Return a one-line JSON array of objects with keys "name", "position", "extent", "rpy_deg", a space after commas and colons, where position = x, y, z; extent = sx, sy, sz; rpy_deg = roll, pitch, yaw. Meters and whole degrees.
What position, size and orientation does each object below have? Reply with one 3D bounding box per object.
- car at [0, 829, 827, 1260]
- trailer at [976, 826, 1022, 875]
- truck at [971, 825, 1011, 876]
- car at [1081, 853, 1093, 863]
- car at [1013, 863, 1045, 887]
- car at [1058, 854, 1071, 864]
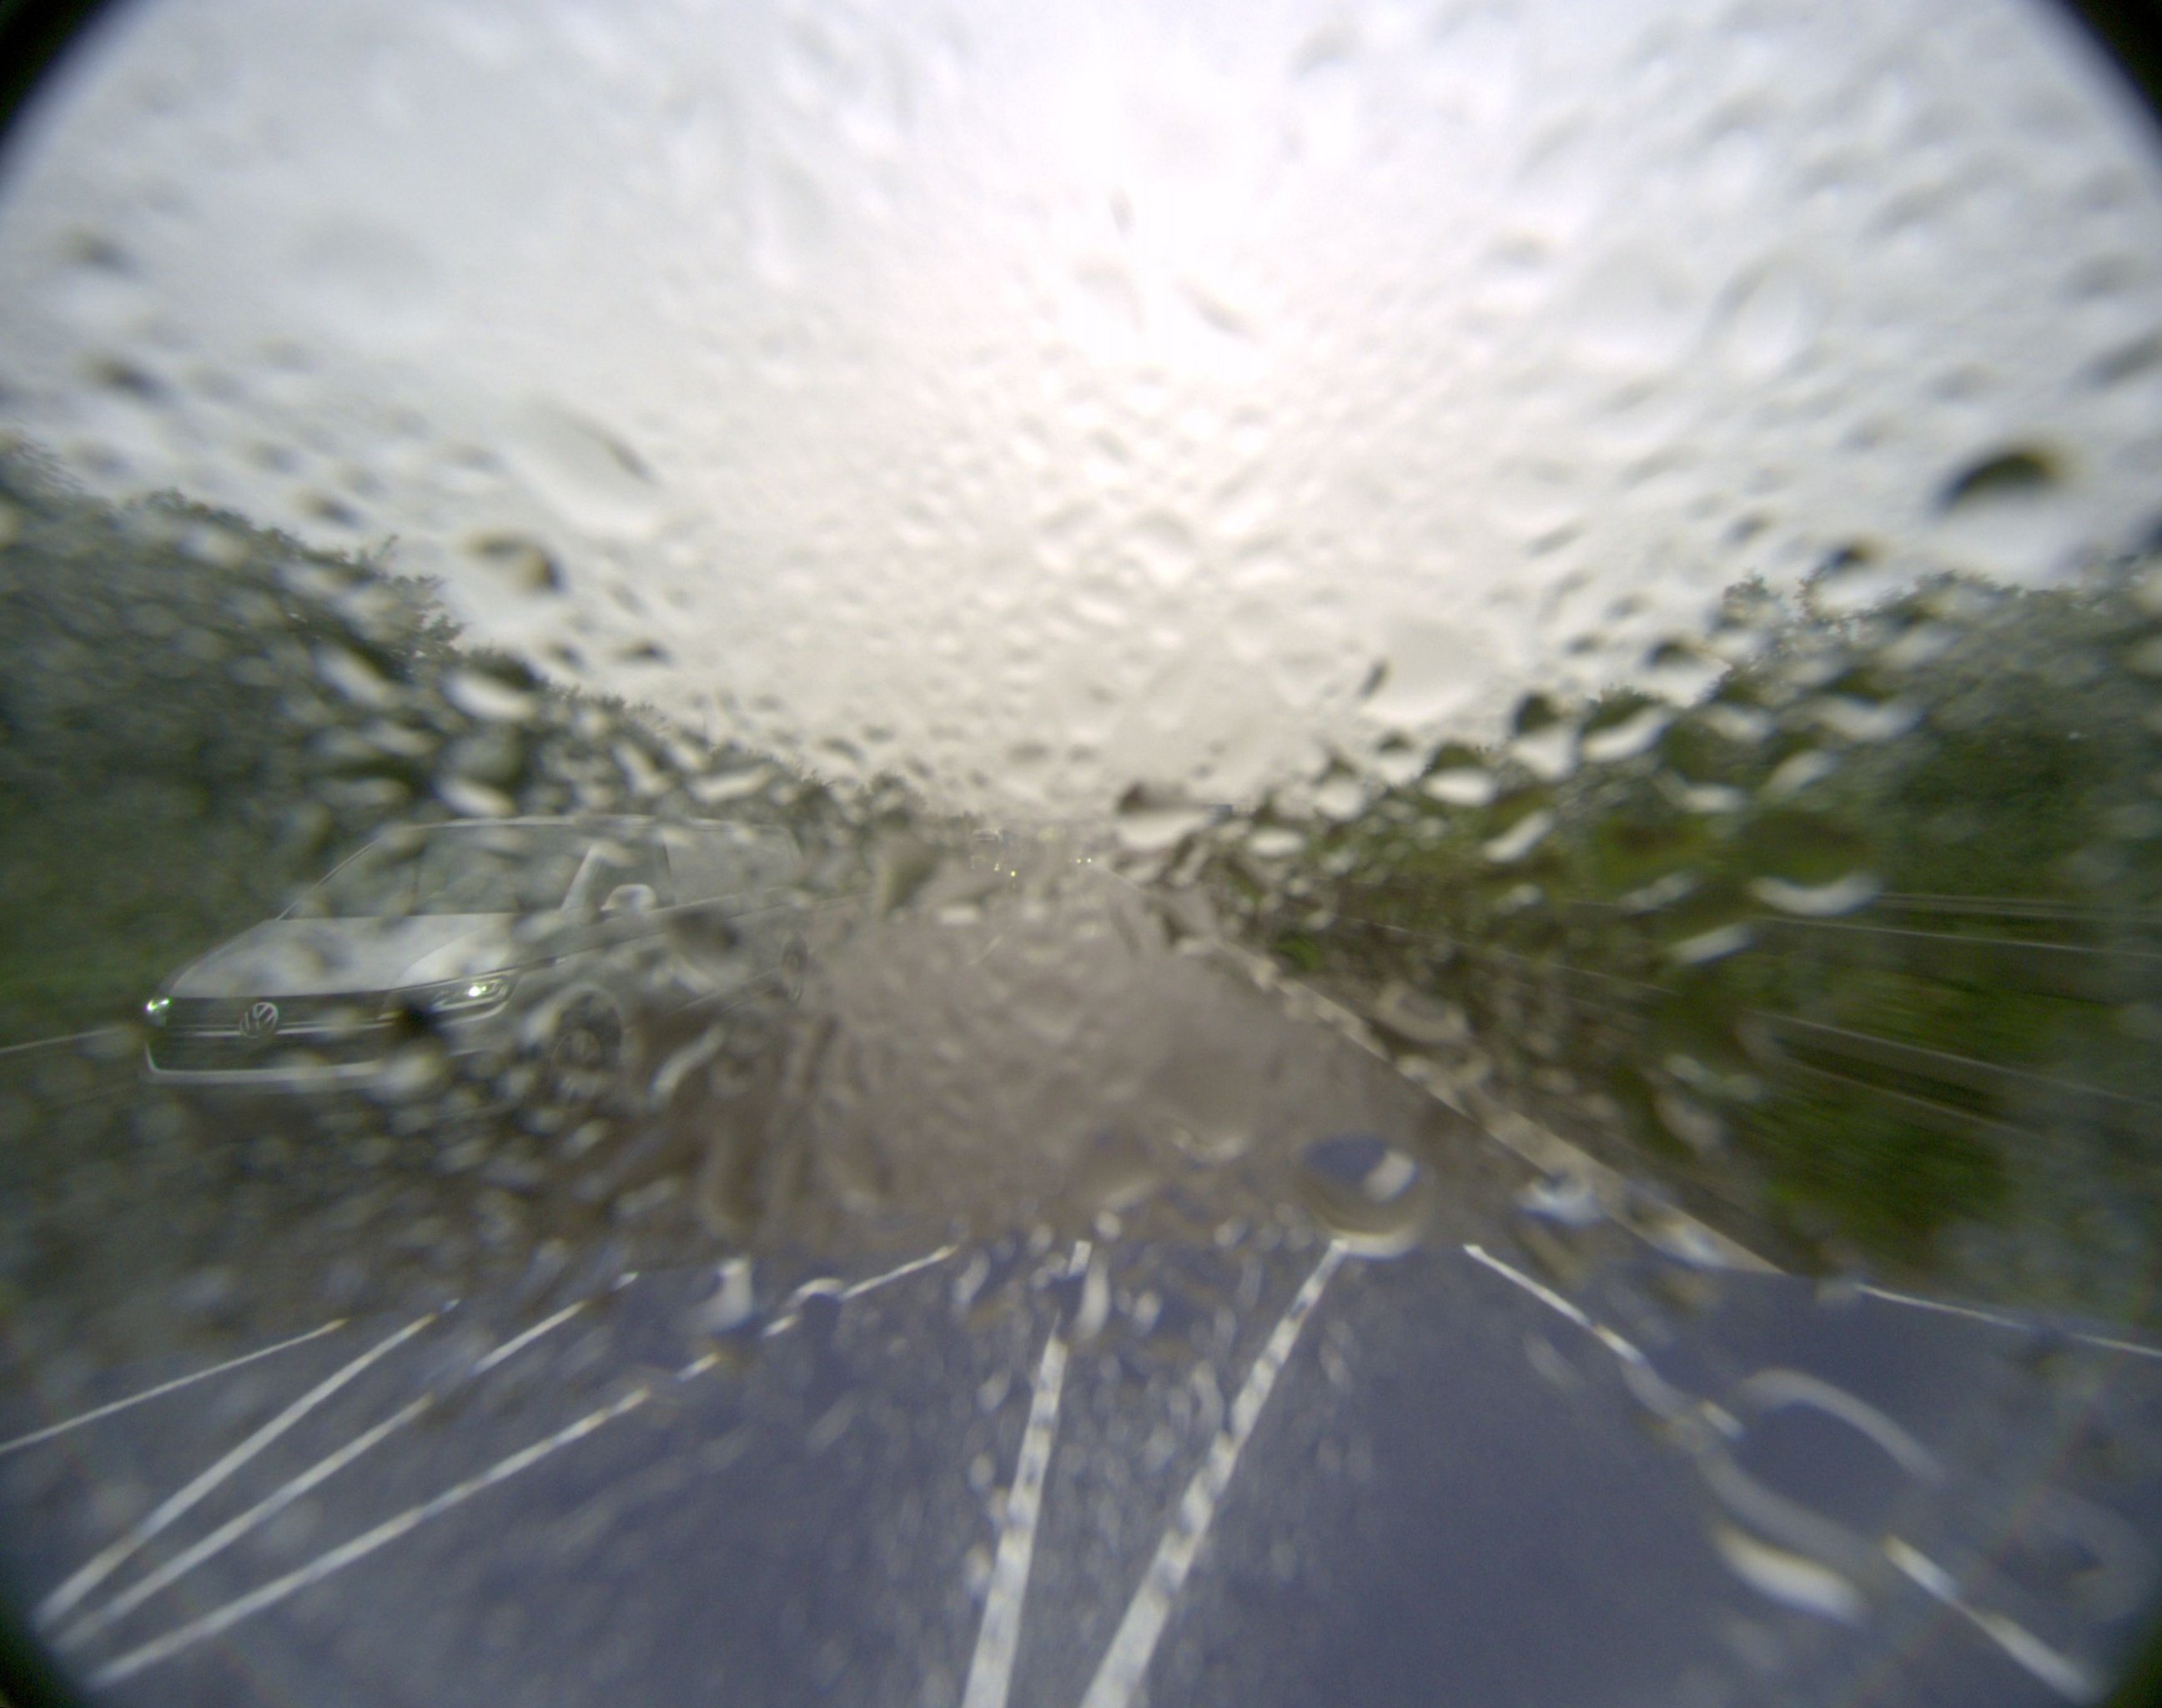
[{"name": "car", "position": [-3.786, 0.832, 5.855], "extent": [1.892, 1.873, 5.009], "rpy_deg": [-1, 0, 1]}, {"name": "trailer", "position": [-7.443, -0.324, 71.252], "extent": [2.618, 4.064, 13.790], "rpy_deg": [-1, 0, 1]}, {"name": "truck", "position": [-7.488, -0.324, 63.829], "extent": [2.618, 4.064, 5.238], "rpy_deg": [-1, 1, 1]}, {"name": "car", "position": [0.925, 0.625, 116.979], "extent": [1.769, 1.448, 3.959], "rpy_deg": [-1, 0, 1]}, {"name": "car", "position": [-3.362, 1.351, 50.072], "extent": [1.769, 1.448, 3.959], "rpy_deg": [-1, 0, 1]}, {"name": "car", "position": [-2.565, 0.726, 117.548], "extent": [1.769, 1.448, 3.959], "rpy_deg": [-1, 0, 1]}]
